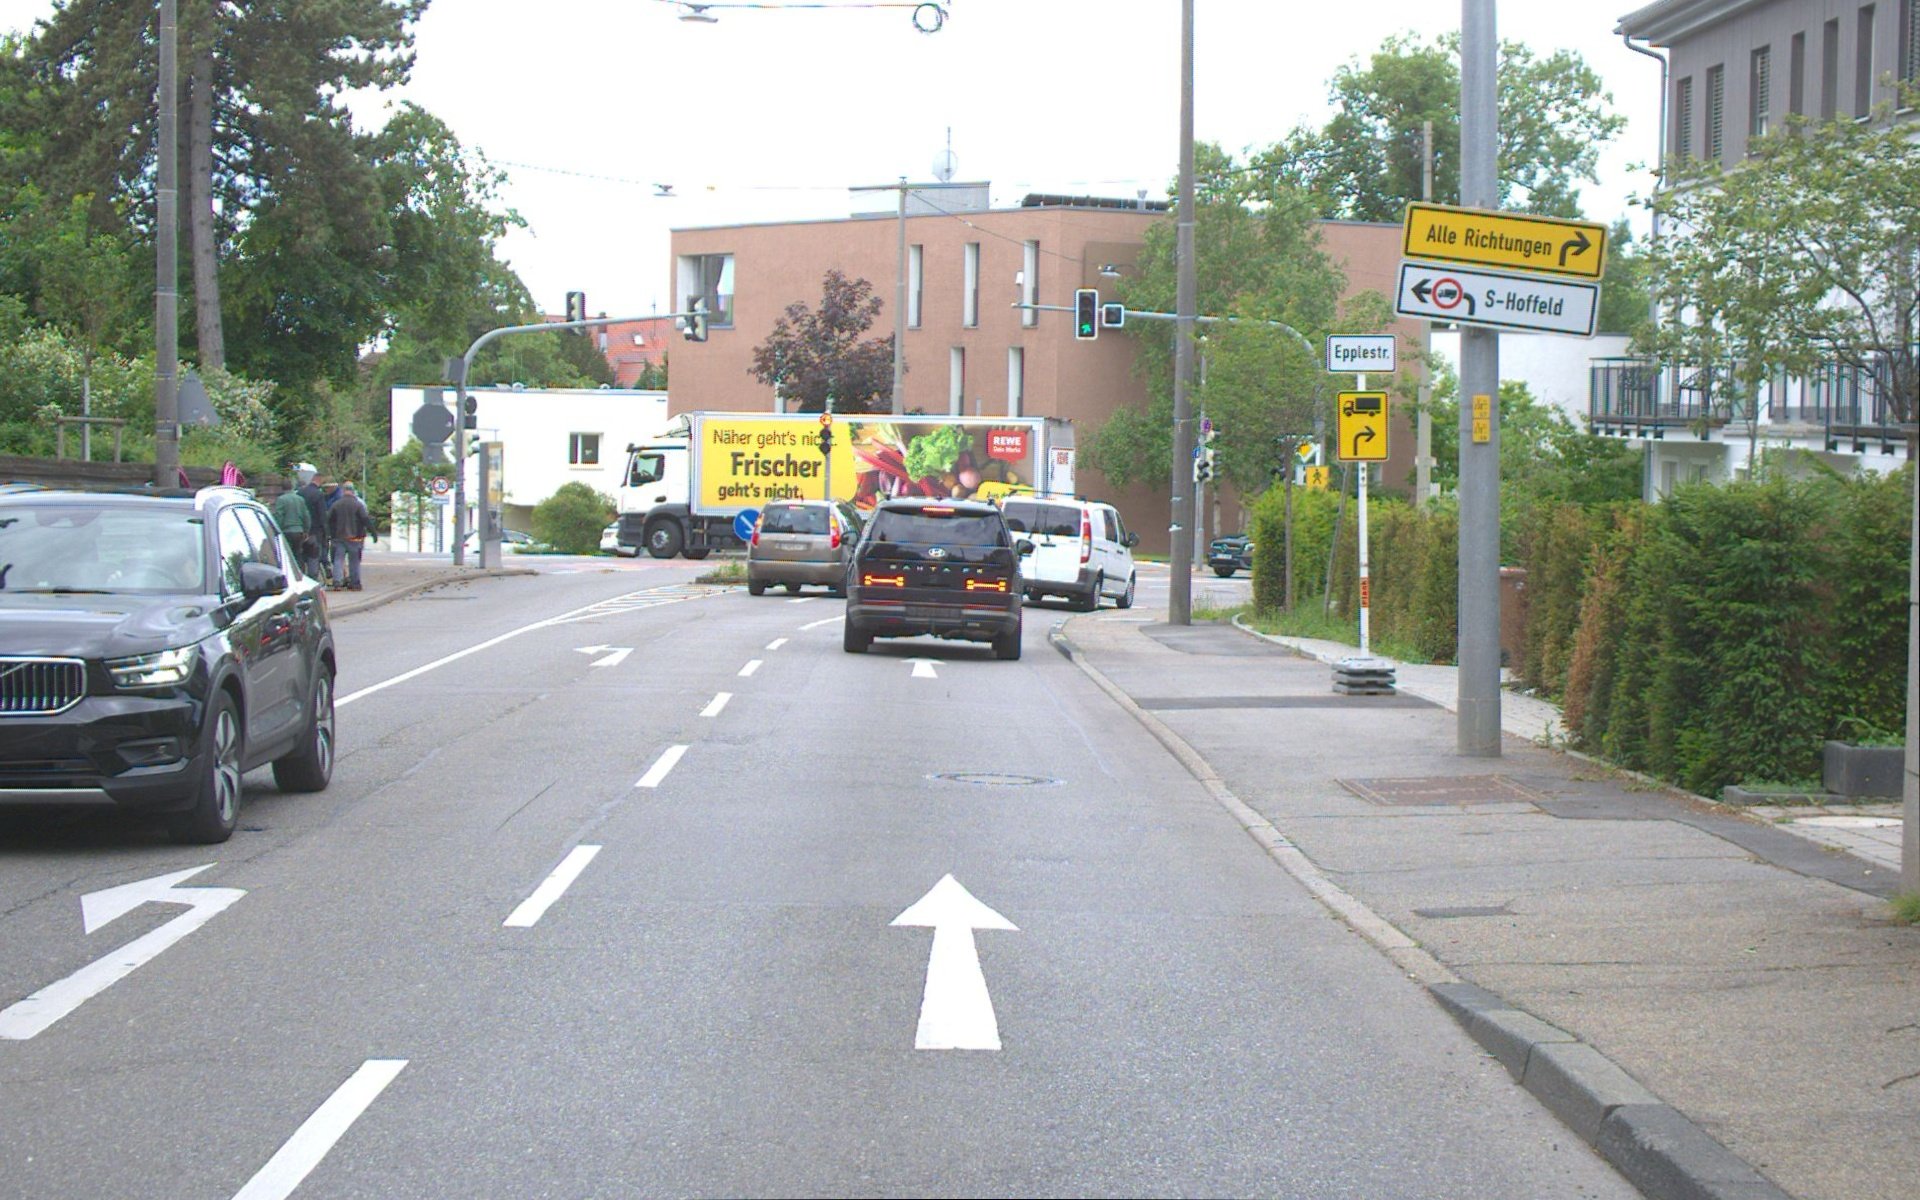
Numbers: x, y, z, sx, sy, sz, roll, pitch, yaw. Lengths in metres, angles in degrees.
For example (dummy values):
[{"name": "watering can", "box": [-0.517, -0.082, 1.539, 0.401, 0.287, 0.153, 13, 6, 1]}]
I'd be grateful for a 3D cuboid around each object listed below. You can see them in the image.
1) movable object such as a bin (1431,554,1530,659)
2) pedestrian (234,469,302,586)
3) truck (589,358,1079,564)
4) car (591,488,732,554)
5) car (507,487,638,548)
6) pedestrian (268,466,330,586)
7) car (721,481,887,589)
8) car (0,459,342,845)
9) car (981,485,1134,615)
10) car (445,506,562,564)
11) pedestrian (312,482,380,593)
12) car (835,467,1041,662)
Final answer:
[{"name": "movable object such as a bin", "box": [5.556, 0.071, 36.719, 0.714, 1.070, 0.682, 3, 1, -38]}, {"name": "pedestrian", "box": [-10.670, -1.123, 53.005, 0.815, 1.757, 0.868, 1, 2, -23]}, {"name": "truck", "box": [-3.160, -3.512, 86.462, 11.764, 4.718, 3.134, 2, 2, 14]}, {"name": "car", "box": [-9.628, -2.543, 110.886, 3.986, 2.006, 2.000, 1, 2, -29]}, {"name": "car", "box": [-13.284, -2.830, 117.887, 3.986, 2.006, 2.000, 0, 2, -28]}, {"name": "pedestrian", "box": [-10.268, -1.148, 53.383, 0.750, 1.831, 0.615, 1, 2, -30]}, {"name": "car", "box": [-2.576, -1.096, 57.781, 1.894, 1.700, 3.998, 2, 2, 10]}, {"name": "car", "box": [-4.220, 0.159, 16.592, 1.831, 1.625, 4.283, 0, 2, -2]}, {"name": "car", "box": [1.748, -0.916, 60.187, 1.962, 2.006, 4.427, 5, 3, 9]}, {"name": "car", "box": [-17.000, -2.417, 128.011, 3.985, 2.006, 2.001, 1, 2, -17]}, {"name": "pedestrian", "box": [-9.713, -0.992, 54.366, 0.695, 1.728, 0.750, 3, 2, 44]}, {"name": "car", "box": [-0.254, -0.432, 37.718, 1.993, 1.875, 4.001, 5, 2, -1]}]
